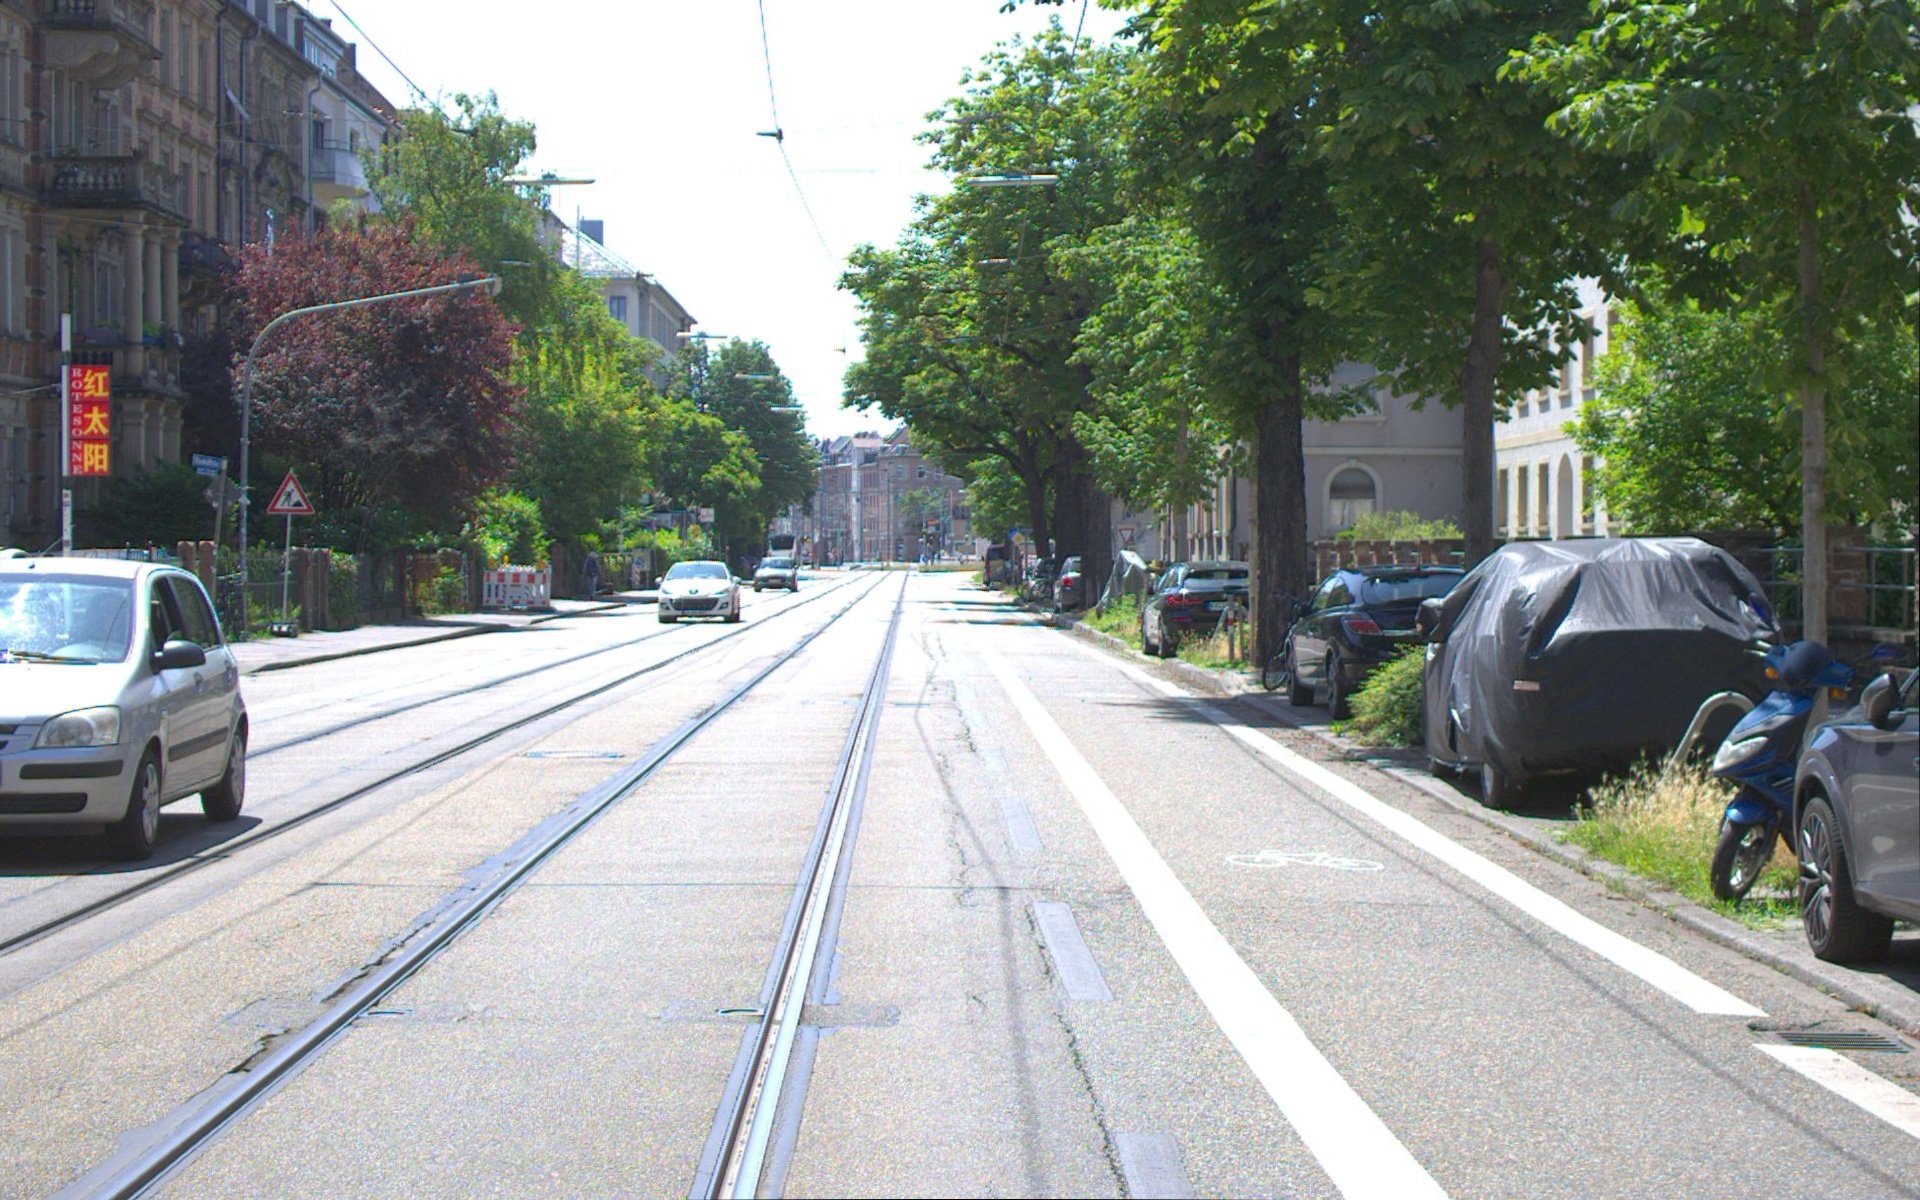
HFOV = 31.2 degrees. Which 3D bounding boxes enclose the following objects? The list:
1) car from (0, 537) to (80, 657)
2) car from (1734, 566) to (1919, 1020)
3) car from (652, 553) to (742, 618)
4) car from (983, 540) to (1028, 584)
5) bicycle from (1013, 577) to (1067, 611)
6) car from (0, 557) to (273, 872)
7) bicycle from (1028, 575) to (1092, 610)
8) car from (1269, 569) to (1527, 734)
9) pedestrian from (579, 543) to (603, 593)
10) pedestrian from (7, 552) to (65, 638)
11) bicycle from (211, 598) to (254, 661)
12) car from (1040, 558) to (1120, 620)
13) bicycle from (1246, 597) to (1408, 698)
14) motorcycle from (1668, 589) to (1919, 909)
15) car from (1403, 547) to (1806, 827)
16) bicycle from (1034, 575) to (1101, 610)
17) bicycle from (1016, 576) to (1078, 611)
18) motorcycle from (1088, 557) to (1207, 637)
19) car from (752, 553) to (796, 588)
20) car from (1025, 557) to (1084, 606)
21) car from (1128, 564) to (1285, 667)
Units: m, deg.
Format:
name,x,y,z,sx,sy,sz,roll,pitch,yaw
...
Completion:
name,x,y,z,sx,sy,sz,roll,pitch,yaw
car,-13.485,-0.078,47.693,1.865,1.594,4.103,1,1,-6
car,4.184,0.676,12.103,1.732,1.546,4.454,0,1,-3
car,-6.004,-0.342,78.949,1.756,1.419,4.000,-1,1,0
car,2.148,-1.805,162.268,1.993,2.028,4.697,0,1,-1
bicycle,2.728,-0.198,117.516,1.816,1.109,0.493,-1,-1,-1
car,-4.824,0.515,18.080,1.684,1.444,4.000,-1,1,-1
bicycle,3.008,-0.220,103.277,1.890,1.048,0.538,0,0,6
car,4.124,0.443,33.003,1.694,1.414,4.358,0,1,-3
pedestrian,-12.082,-1.061,112.537,0.750,1.623,0.833,0,0,-7
pedestrian,-14.311,-0.087,53.276,0.709,1.293,0.711,-2,1,-5
bicycle,-12.007,0.482,56.769,0.454,1.000,1.807,0,1,-4
car,3.089,-0.297,89.305,1.774,1.496,4.306,-1,1,-2
bicycle,4.006,0.512,37.570,1.652,1.074,0.606,-1,1,-8
motorcycle,4.323,0.669,15.953,1.912,1.428,0.672,0,1,-10
car,4.159,0.483,22.942,1.947,1.645,4.880,0,1,2
bicycle,3.246,-0.228,103.791,1.963,1.059,0.598,0,0,6
bicycle,2.861,-0.208,112.906,2.010,1.109,0.640,-1,-1,2
motorcycle,3.683,-0.074,67.768,2.319,1.535,0.867,1,1,42
car,-7.696,-1.219,142.663,1.686,1.449,3.748,0,1,-1
car,2.945,-0.570,108.087,1.621,1.443,3.810,-3,0,-1
car,3.692,0.198,52.212,1.769,1.422,4.863,0,1,-3
